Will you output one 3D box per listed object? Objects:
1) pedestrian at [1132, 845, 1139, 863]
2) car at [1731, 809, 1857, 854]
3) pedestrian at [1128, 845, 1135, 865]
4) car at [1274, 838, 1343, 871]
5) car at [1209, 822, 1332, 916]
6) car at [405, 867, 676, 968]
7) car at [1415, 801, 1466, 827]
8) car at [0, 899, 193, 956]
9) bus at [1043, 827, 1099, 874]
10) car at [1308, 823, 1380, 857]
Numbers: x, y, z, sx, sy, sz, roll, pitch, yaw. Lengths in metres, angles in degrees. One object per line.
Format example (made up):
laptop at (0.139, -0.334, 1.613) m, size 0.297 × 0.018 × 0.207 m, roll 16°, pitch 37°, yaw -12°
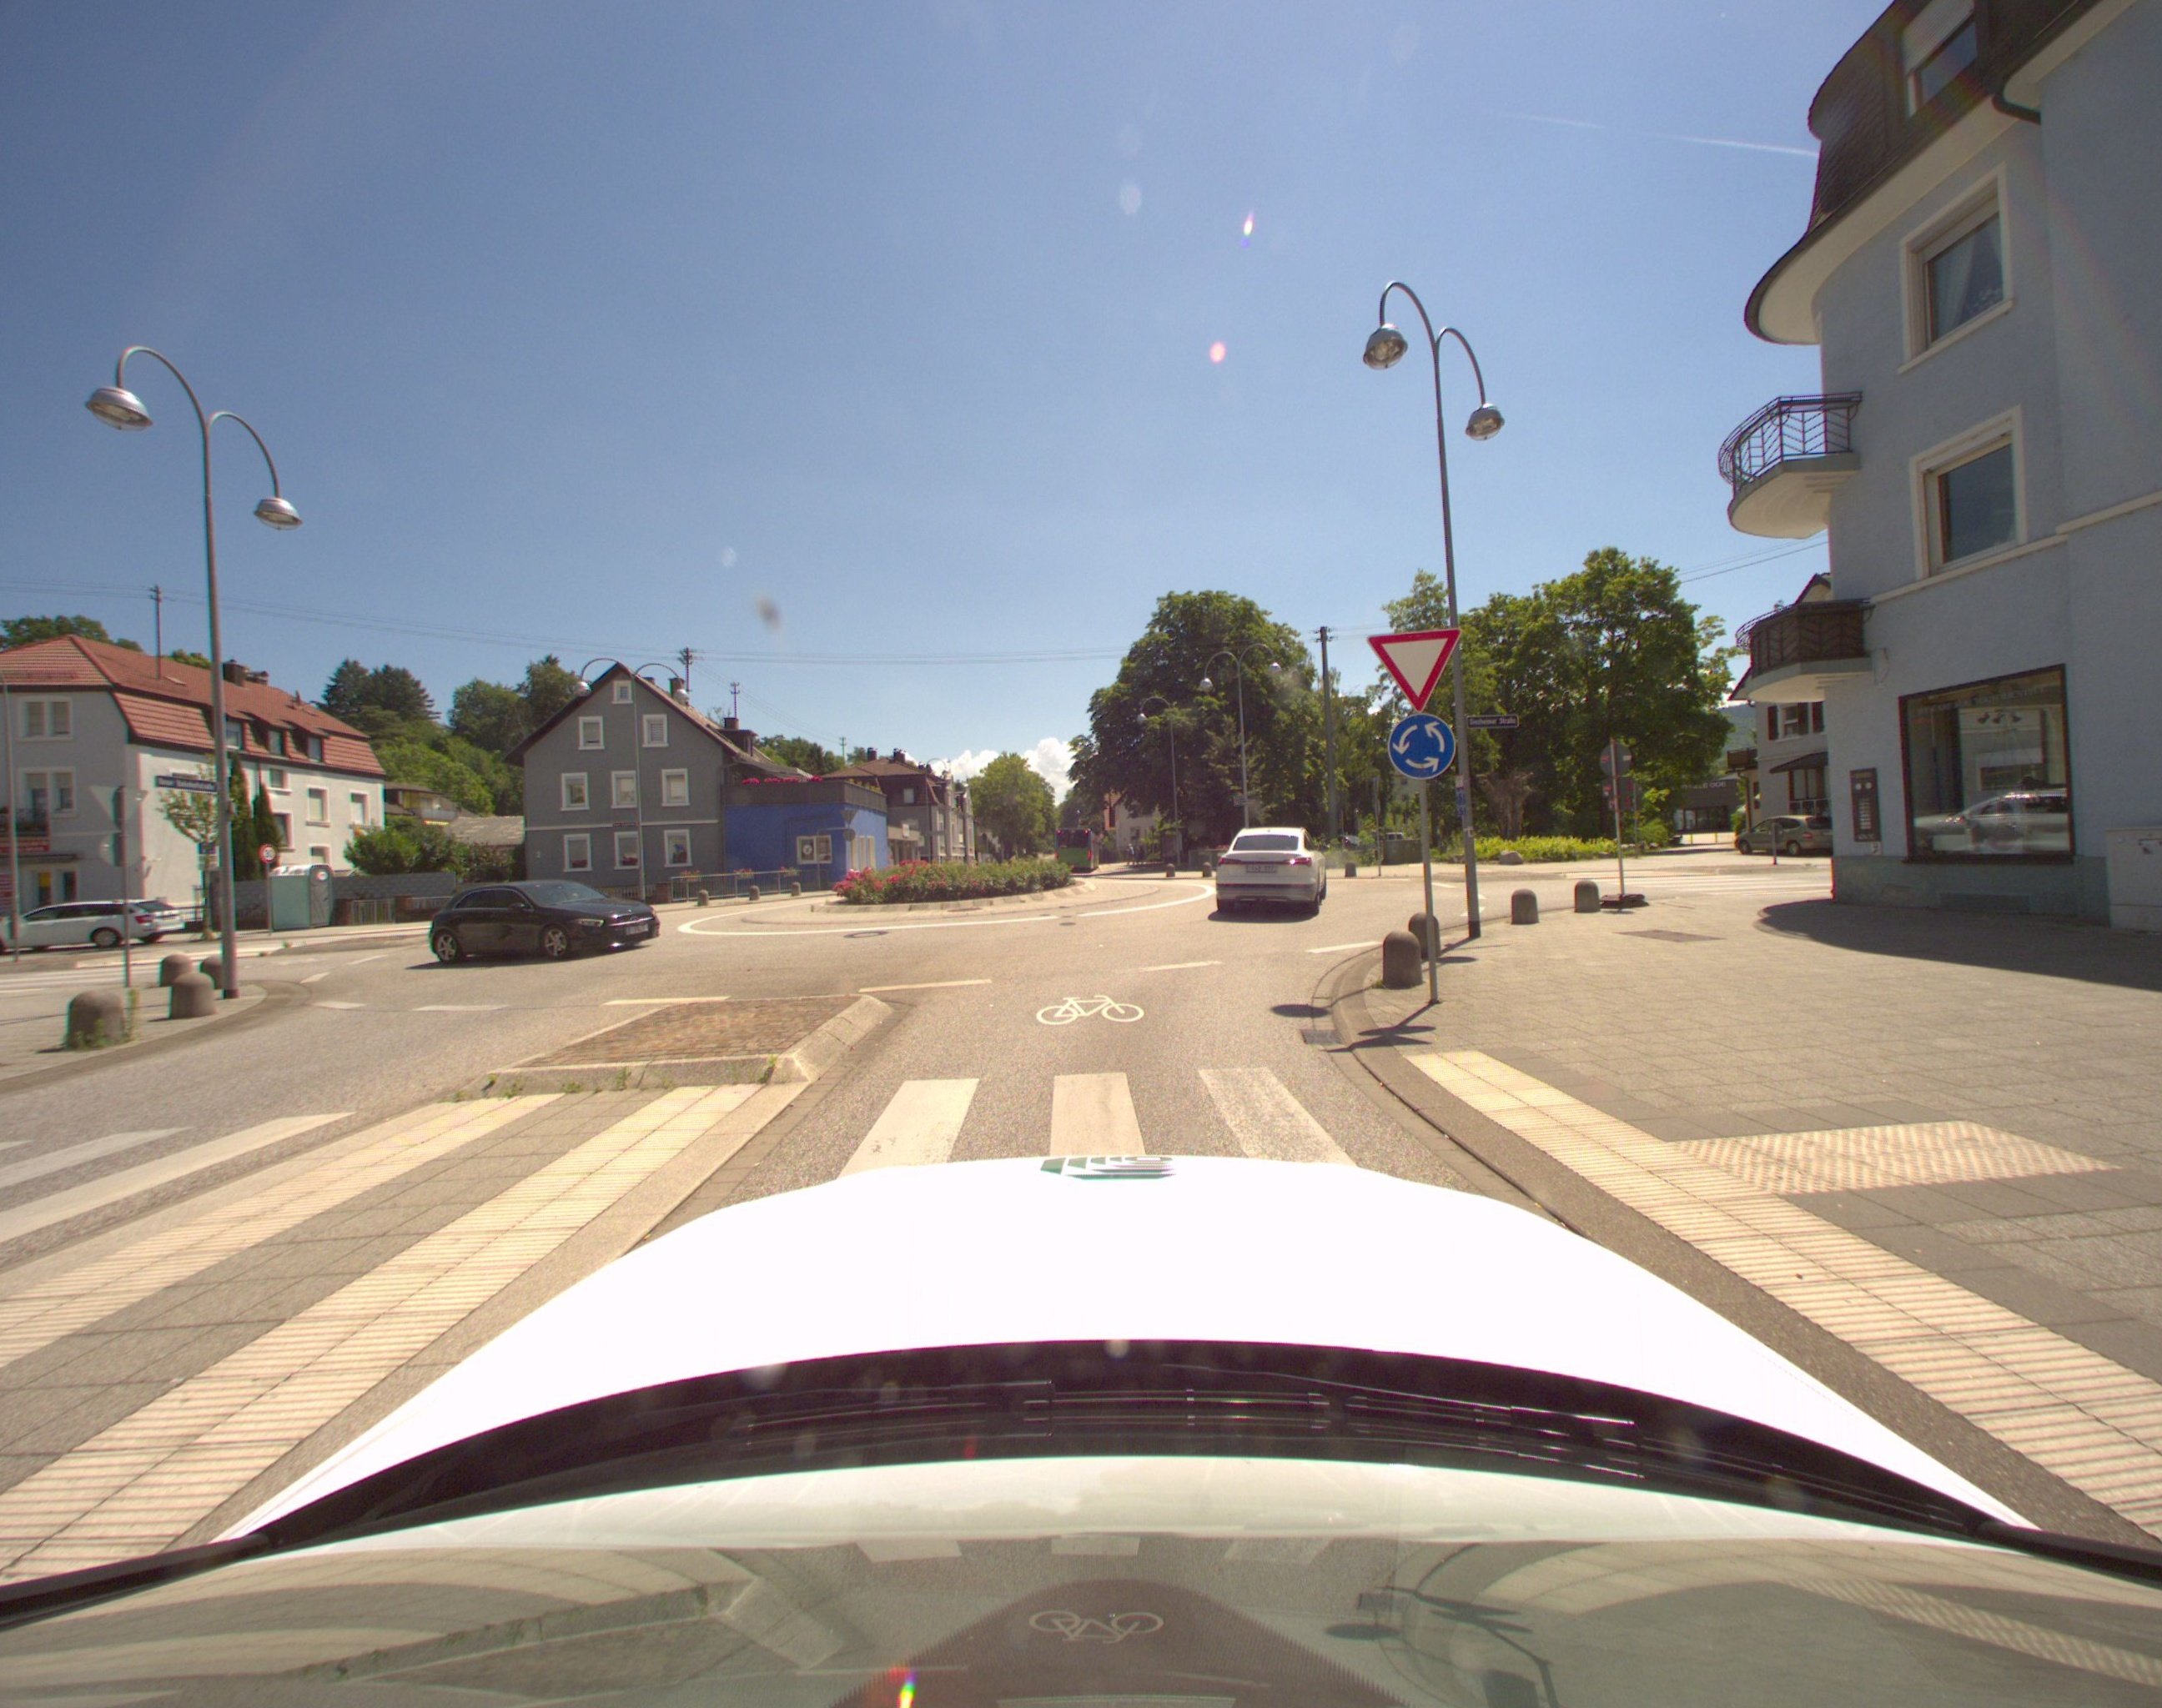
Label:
pedestrian at (4.713, -0.023, 70.817) m, size 0.488 × 1.522 × 0.541 m, roll -3°, pitch 0°, yaw -6°
car at (29.057, -0.888, 33.376) m, size 1.745 × 1.640 × 4.003 m, roll -3°, pitch 0°, yaw 3°
pedestrian at (4.267, 0.107, 68.844) m, size 0.501 × 1.650 × 0.578 m, roll -3°, pitch 0°, yaw -6°
car at (11.916, 0.029, 42.720) m, size 3.053 × 1.552 × 1.627 m, roll -3°, pitch 0°, yaw -14°
car at (4.045, 0.226, 16.840) m, size 1.882 × 1.661 × 4.432 m, roll -1°, pitch 1°, yaw 21°
car at (-10.151, 1.190, 15.348) m, size 4.388 × 1.457 × 1.777 m, roll -5°, pitch 2°, yaw 18°
car at (31.930, -3.525, 72.334) m, size 3.950 × 2.013 × 2.012 m, roll -3°, pitch 0°, yaw 26°
car at (-31.154, 2.288, 25.579) m, size 4.075 × 1.391 × 1.600 m, roll -3°, pitch 0°, yaw -17°
bus at (-0.484, -0.216, 64.450) m, size 3.693 × 3.171 × 18.074 m, roll -1°, pitch 0°, yaw 1°
car at (17.292, -0.897, 53.668) m, size 2.011 × 2.013 × 3.953 m, roll -3°, pitch 0°, yaw -40°
